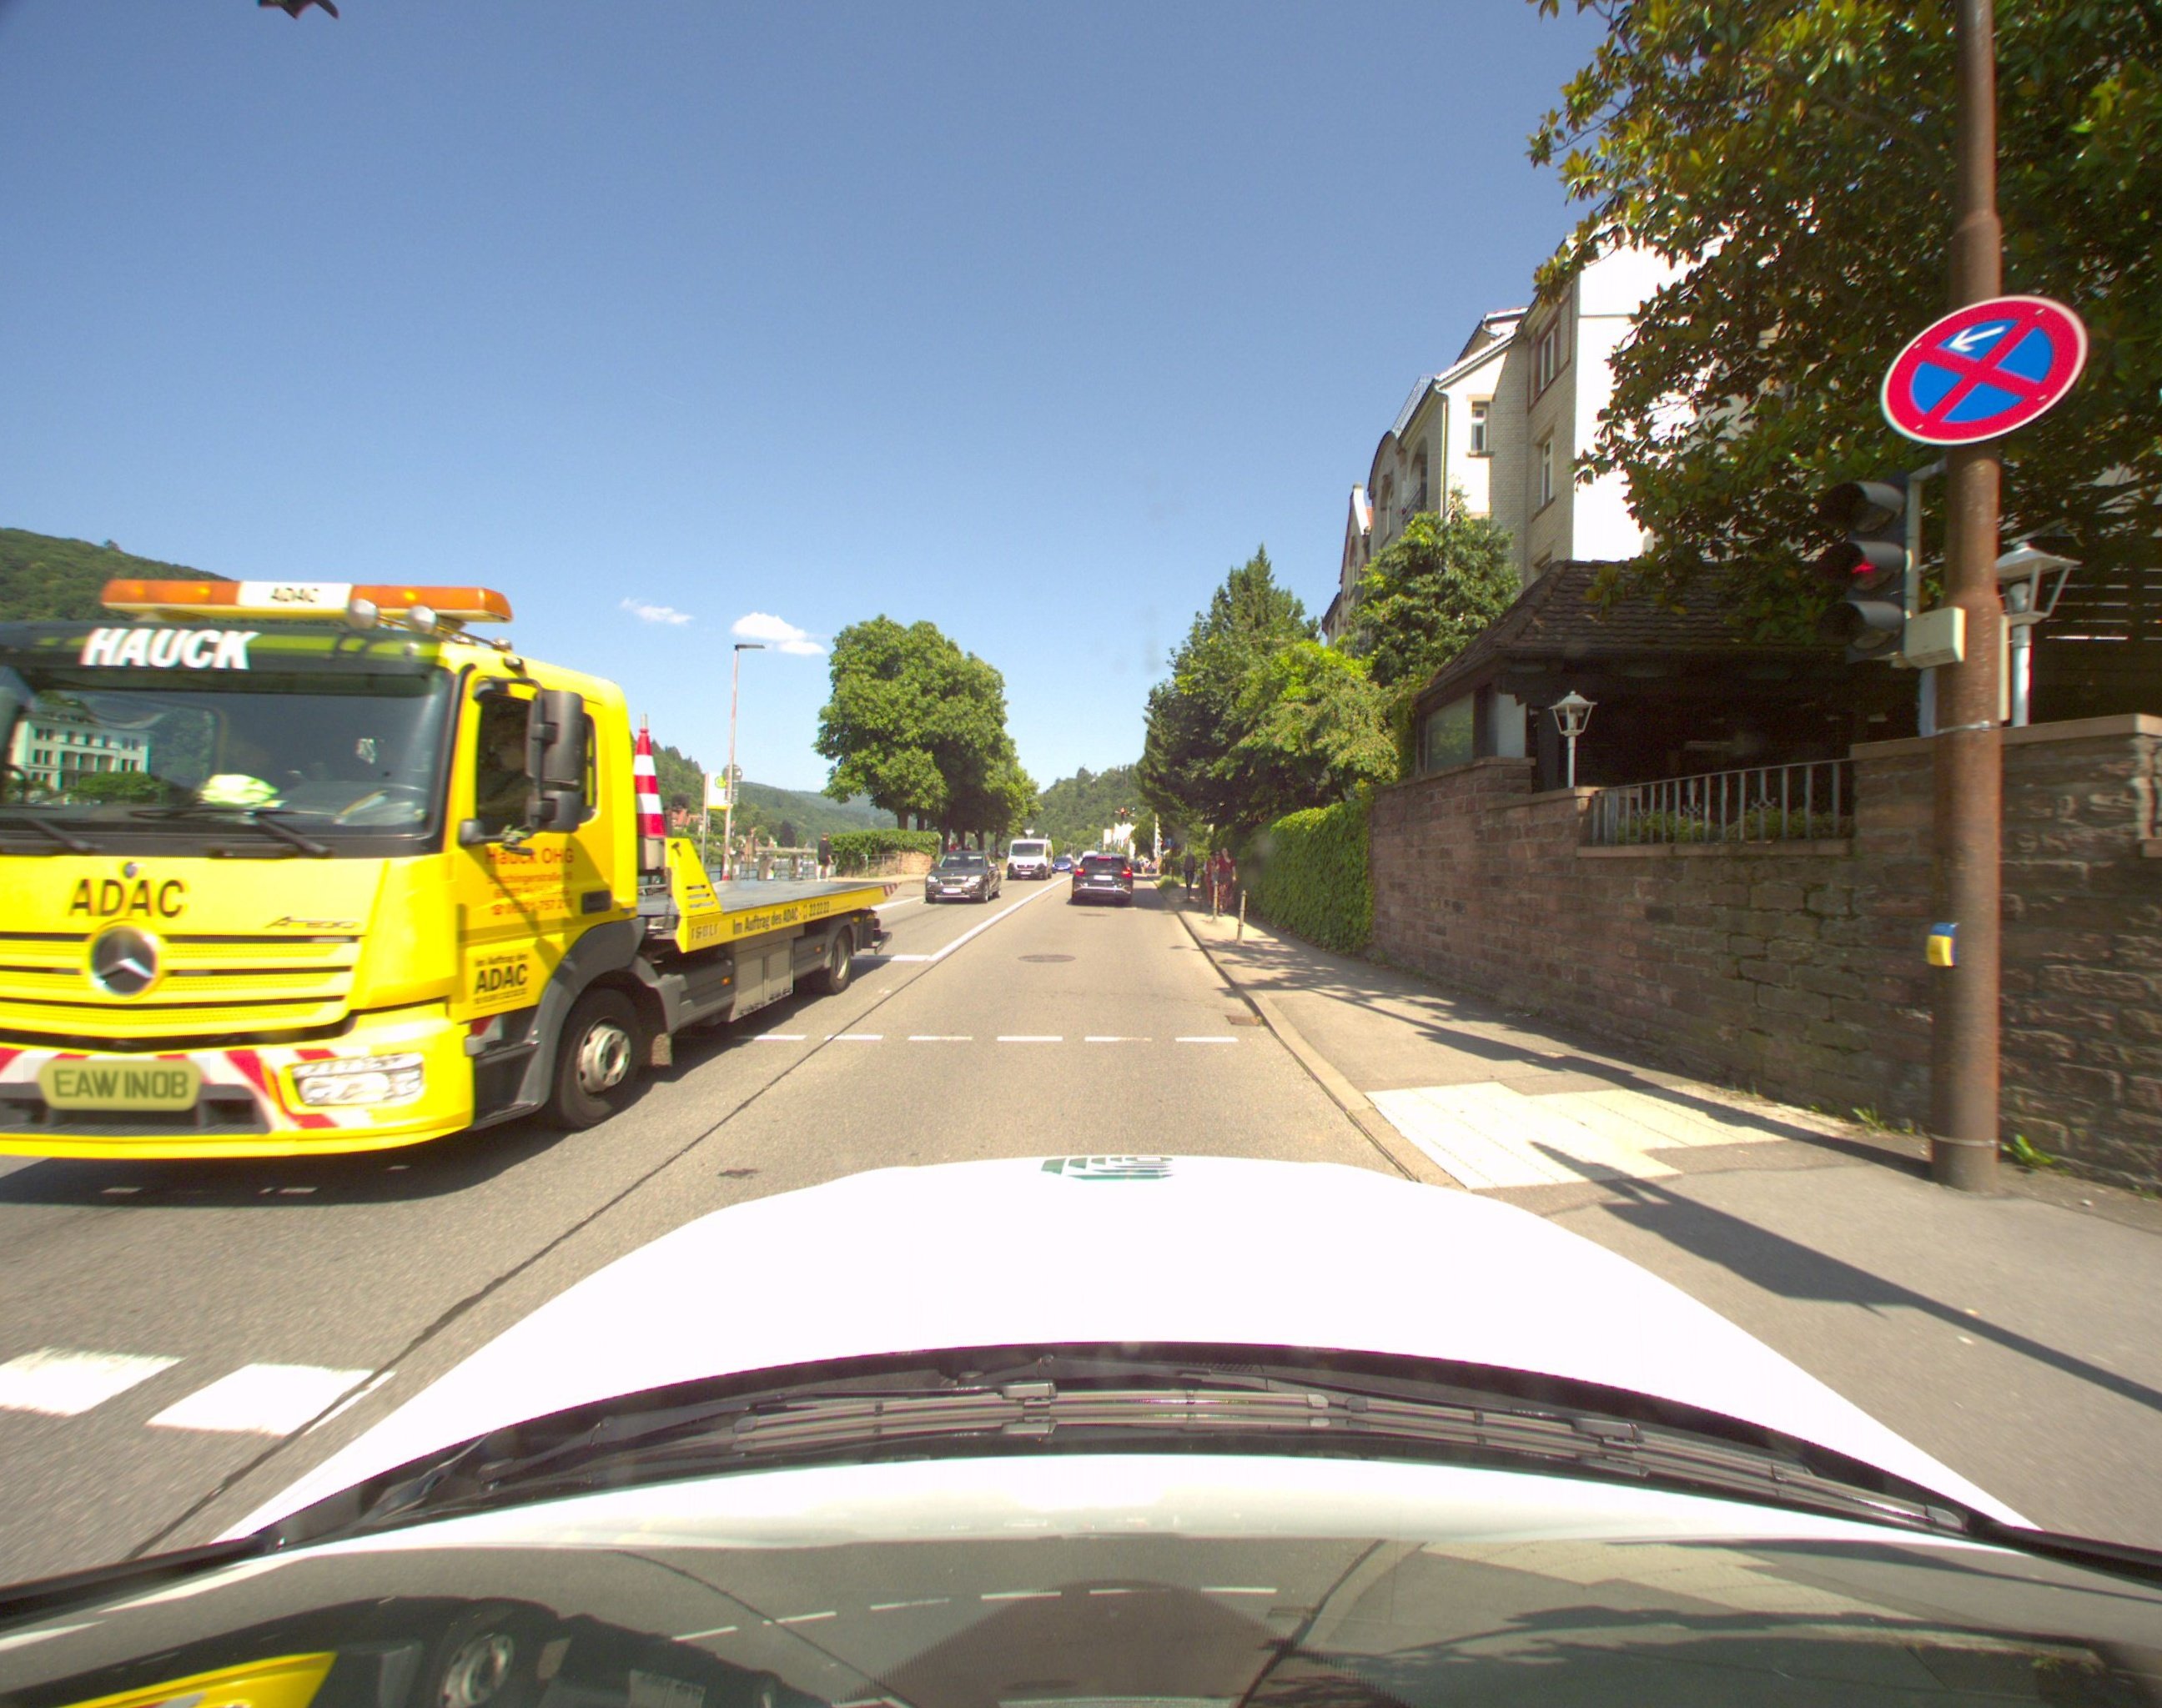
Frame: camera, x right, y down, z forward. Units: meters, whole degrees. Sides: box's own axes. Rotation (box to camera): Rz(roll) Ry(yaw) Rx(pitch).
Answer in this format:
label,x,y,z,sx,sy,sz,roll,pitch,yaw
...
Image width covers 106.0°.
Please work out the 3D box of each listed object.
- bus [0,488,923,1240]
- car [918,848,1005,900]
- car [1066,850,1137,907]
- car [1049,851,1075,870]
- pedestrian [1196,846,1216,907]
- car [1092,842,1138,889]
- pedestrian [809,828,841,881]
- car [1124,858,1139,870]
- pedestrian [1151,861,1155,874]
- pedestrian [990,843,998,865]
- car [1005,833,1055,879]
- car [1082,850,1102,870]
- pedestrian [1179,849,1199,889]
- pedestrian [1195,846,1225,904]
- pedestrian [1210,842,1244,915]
label,x,y,z,sx,sy,sz,roll,pitch,yaw
bus,-3.692,0.026,7.397,2.587,2.896,8.450,1,0,2
car,-3.480,0.525,24.435,1.808,1.398,4.349,0,1,2
car,0.718,0.688,24.823,1.848,1.524,4.006,2,0,5
car,-1.549,0.599,68.766,1.891,1.489,3.797,1,-2,2
pedestrian,3.338,0.597,21.729,0.454,1.606,0.580,1,-1,2
car,1.568,0.466,37.572,1.986,2.013,4.002,1,1,2
pedestrian,-9.568,0.033,30.469,0.750,1.918,1.010,1,-2,2
car,6.906,1.343,110.904,1.985,1.453,4.011,1,-2,3
pedestrian,8.576,1.631,96.833,0.487,1.559,0.462,1,-2,2
pedestrian,-8.116,0.047,75.918,0.637,2.014,0.731,1,-2,2
car,-2.708,0.088,44.336,2.088,2.302,5.872,1,1,2
car,1.507,0.855,108.716,2.484,2.467,5.623,1,-2,3
pedestrian,4.519,0.615,34.010,0.725,1.650,0.882,-1,-1,2
pedestrian,3.669,0.583,23.280,0.732,1.634,0.921,1,0,2
pedestrian,3.576,0.584,20.040,0.678,1.742,0.913,1,1,2
